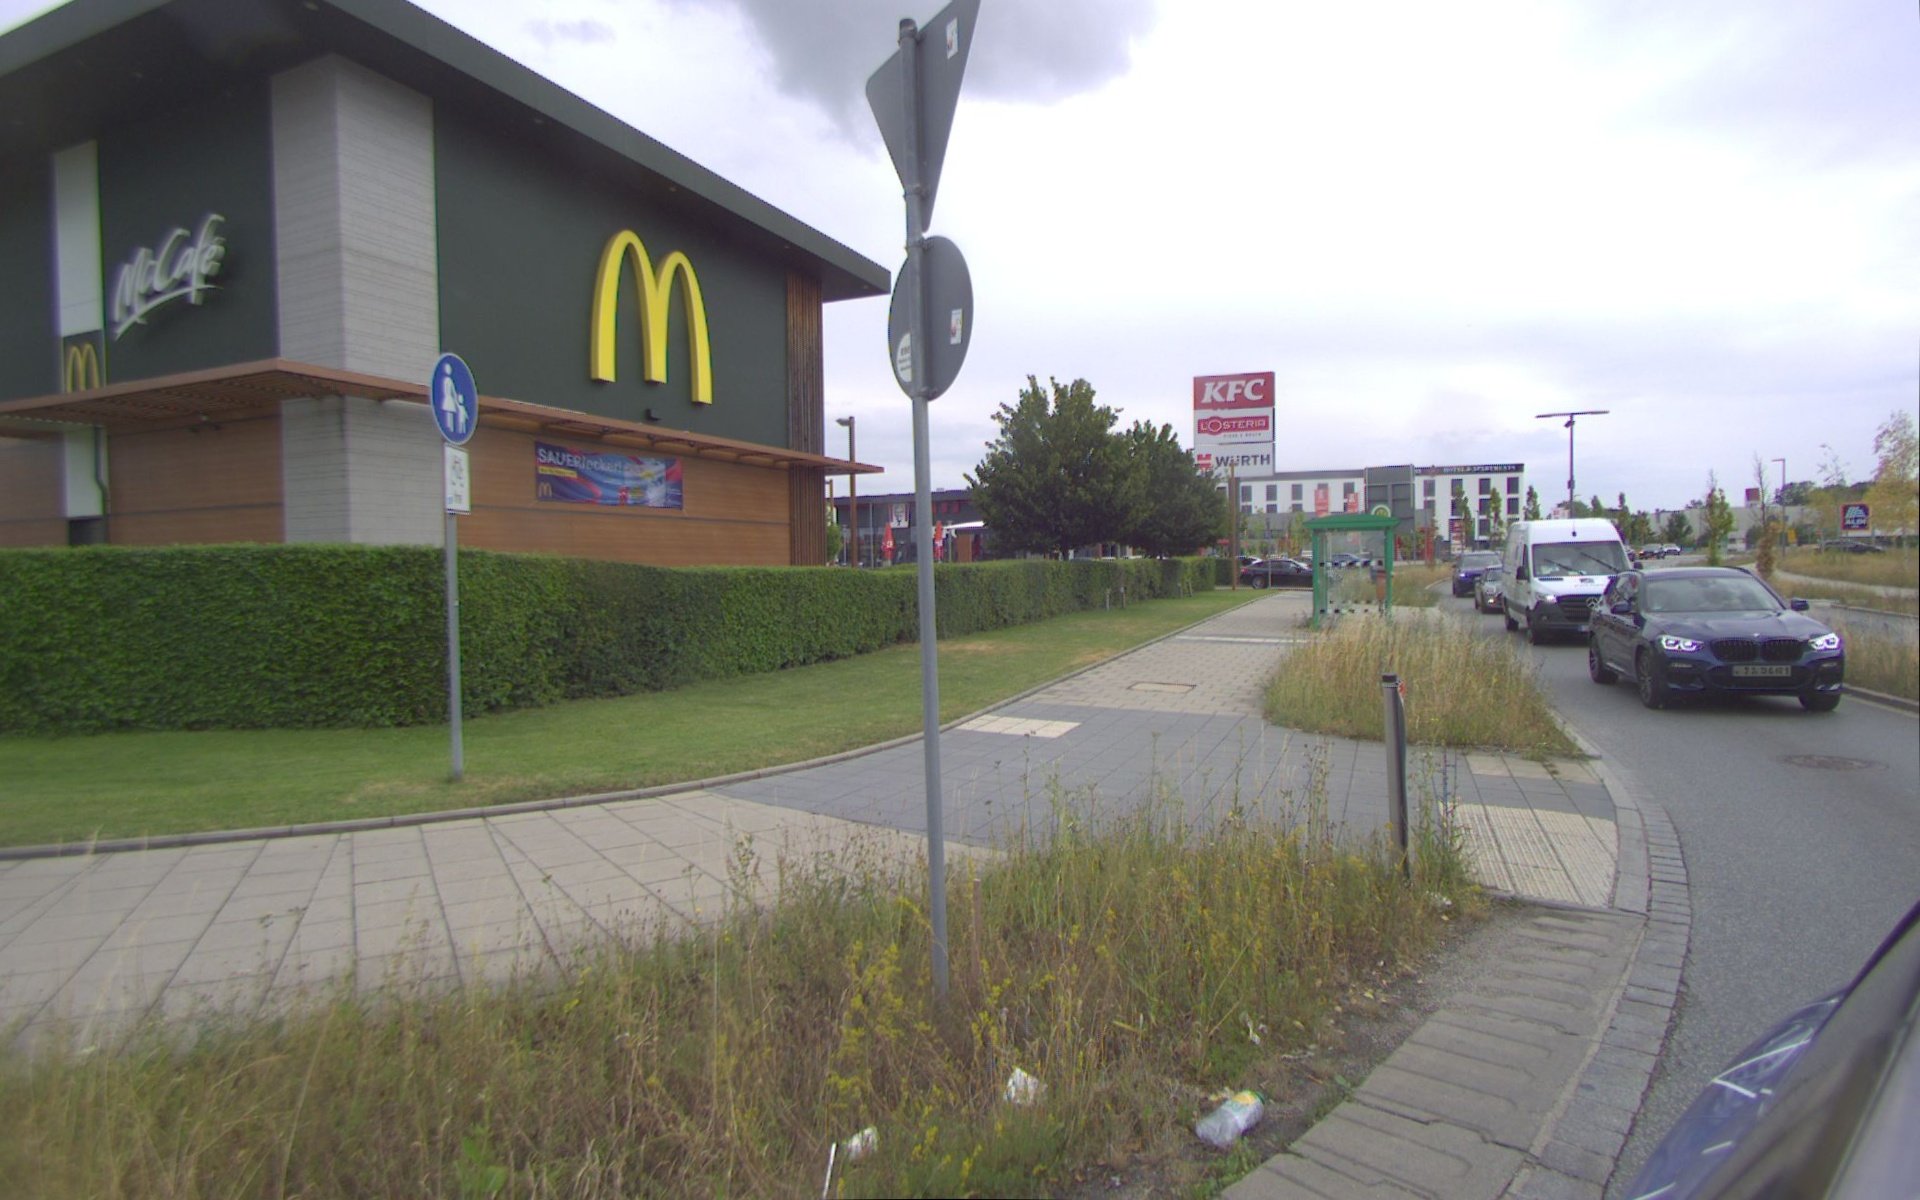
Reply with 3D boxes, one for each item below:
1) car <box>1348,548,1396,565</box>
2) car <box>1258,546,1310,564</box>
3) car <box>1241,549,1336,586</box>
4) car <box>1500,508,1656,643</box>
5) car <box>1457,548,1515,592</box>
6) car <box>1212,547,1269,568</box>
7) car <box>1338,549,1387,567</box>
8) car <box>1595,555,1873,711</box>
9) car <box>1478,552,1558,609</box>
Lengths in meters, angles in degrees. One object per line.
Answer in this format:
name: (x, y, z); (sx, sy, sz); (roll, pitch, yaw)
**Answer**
car: (40.312, -4.237, 99.089); (3.983, 1.504, 1.821); (-1, 3, 41)
car: (28.002, -3.879, 87.509); (3.977, 1.504, 1.824); (1, 3, 37)
car: (15.396, -1.512, 47.479); (3.962, 1.504, 1.831); (-2, 3, 28)
car: (13.417, -0.609, 22.375); (2.004, 2.558, 6.061); (0, 3, 23)
car: (21.189, -1.243, 40.881); (1.849, 1.627, 3.968); (0, 3, 24)
car: (22.213, -3.352, 80.168); (3.970, 1.541, 1.827); (0, 3, 33)
car: (38.808, -4.073, 97.671); (3.983, 1.504, 1.821); (-1, 3, 41)
car: (9.610, 0.273, 12.965); (1.847, 1.627, 3.971); (0, 3, 23)
car: (17.197, -0.645, 31.342); (1.849, 1.627, 3.968); (0, 3, 24)
